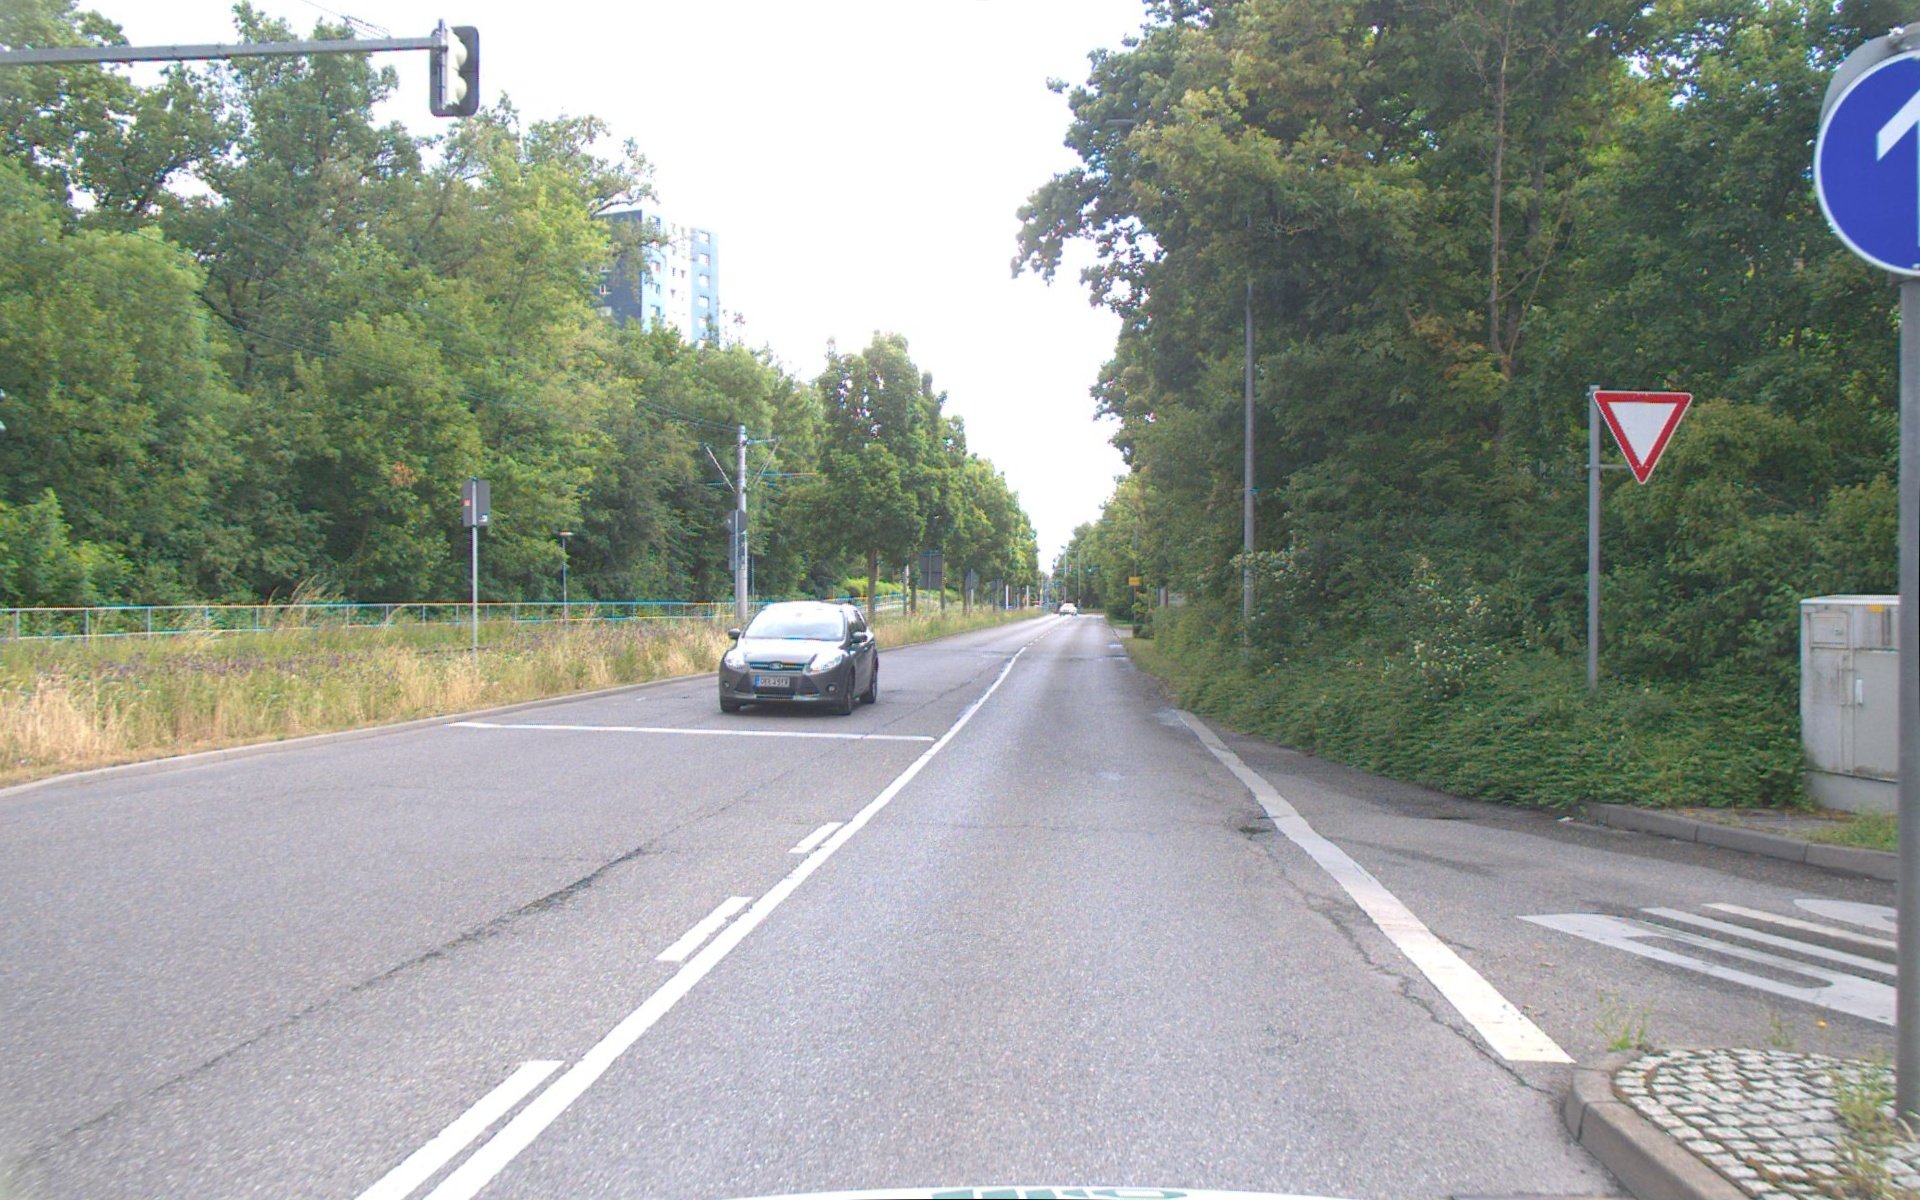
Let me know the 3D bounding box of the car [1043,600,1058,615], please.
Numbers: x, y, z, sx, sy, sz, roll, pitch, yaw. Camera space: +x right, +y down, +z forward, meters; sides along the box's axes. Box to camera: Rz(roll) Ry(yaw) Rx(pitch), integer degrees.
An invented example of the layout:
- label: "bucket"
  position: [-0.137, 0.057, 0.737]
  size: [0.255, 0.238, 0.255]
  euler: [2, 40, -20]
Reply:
- label: "car"
  position: [11.245, 0.943, 204.850]
  size: [1.680, 1.657, 4.002]
  euler: [-5, 0, 4]

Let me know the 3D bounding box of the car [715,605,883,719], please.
- label: "car"
  position: [-2.160, 0.799, 23.364]
  size: [1.719, 1.460, 4.430]
  euler: [0, 0, 3]
